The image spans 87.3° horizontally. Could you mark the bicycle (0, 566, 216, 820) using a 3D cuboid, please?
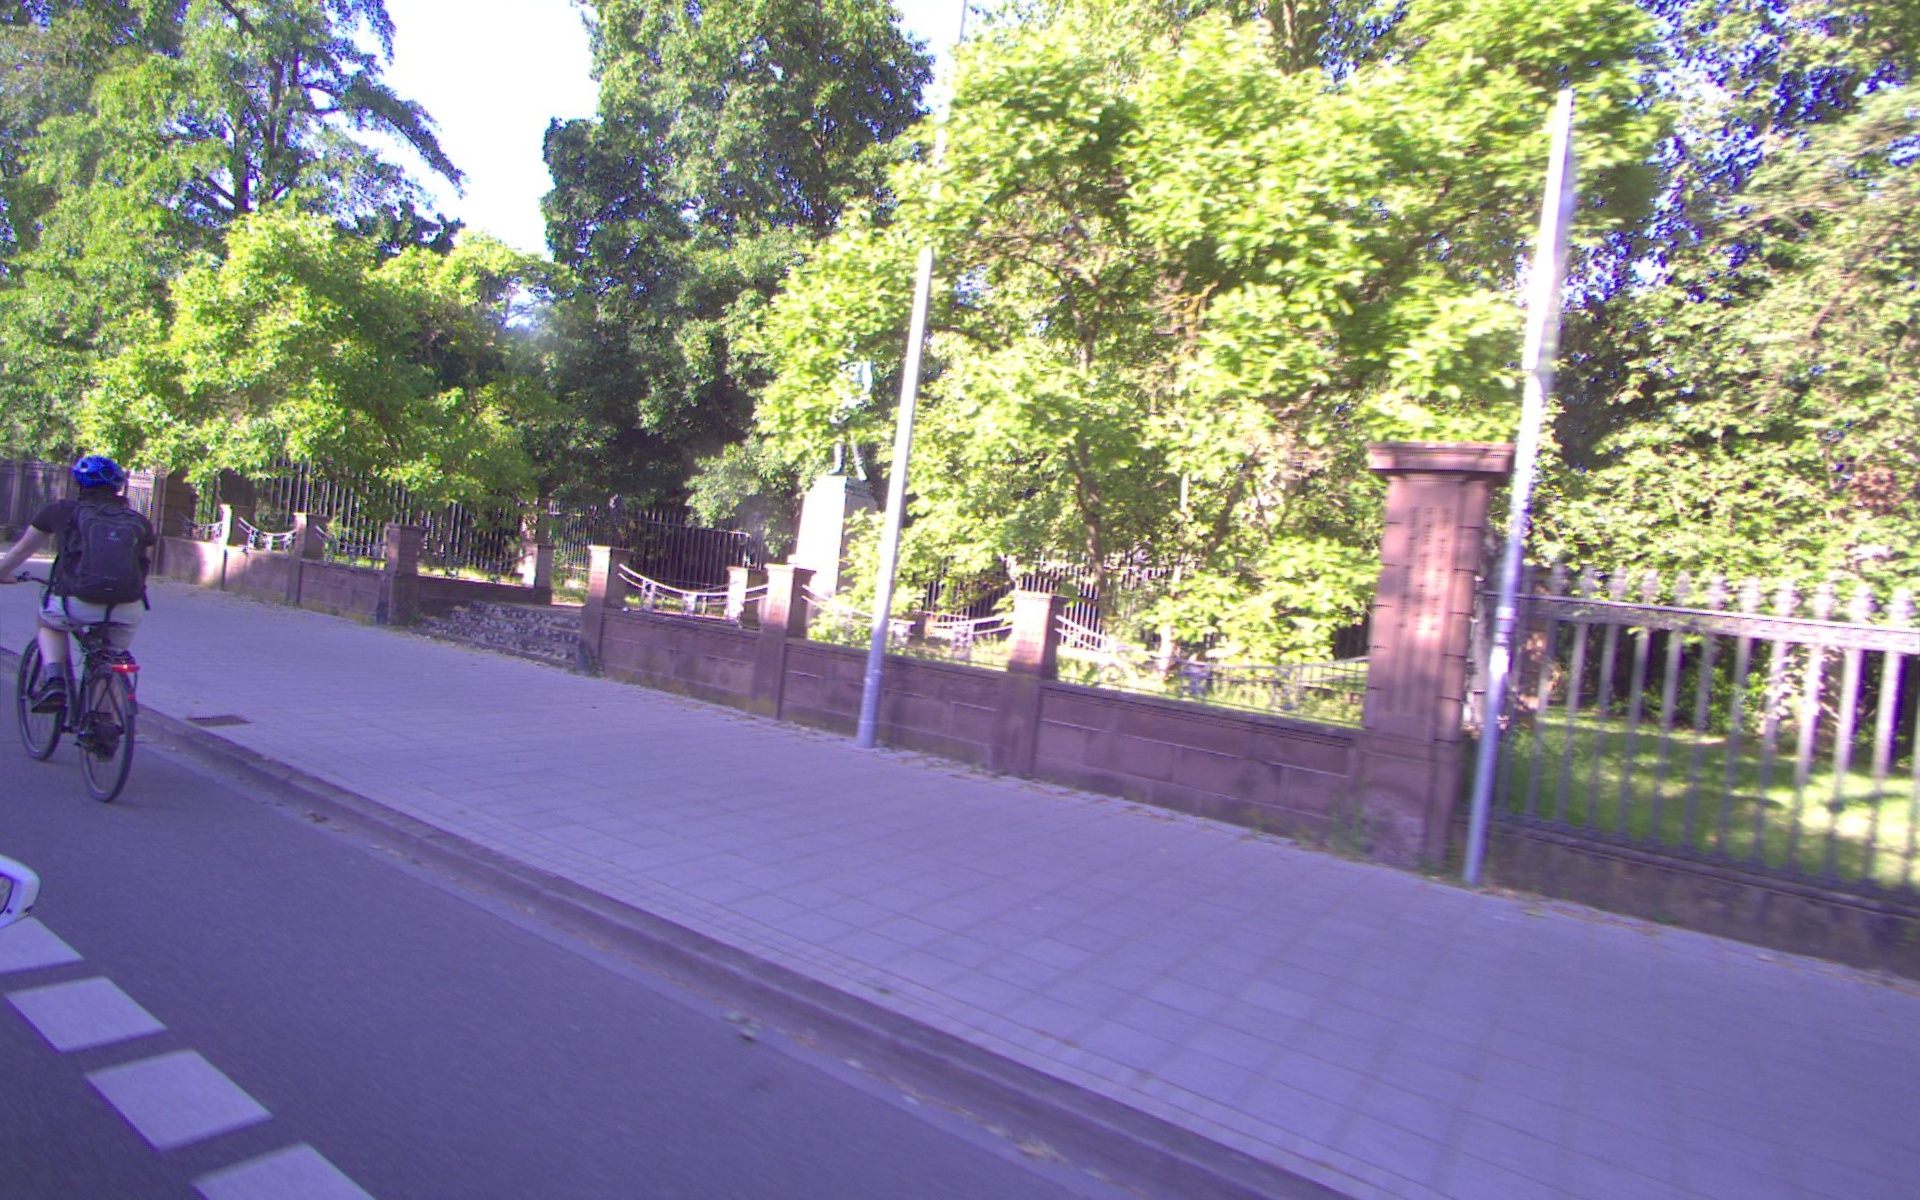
[{"bbox_3d":[-4.944,0.416,5.462,2.176,1.037,0.644,7,-1,33],"label":"bicycle"}]

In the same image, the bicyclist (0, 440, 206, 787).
[{"bbox_3d":[-4.743,0.034,5.349,1.263,1.634,0.636,7,0,33],"label":"bicyclist"}]
